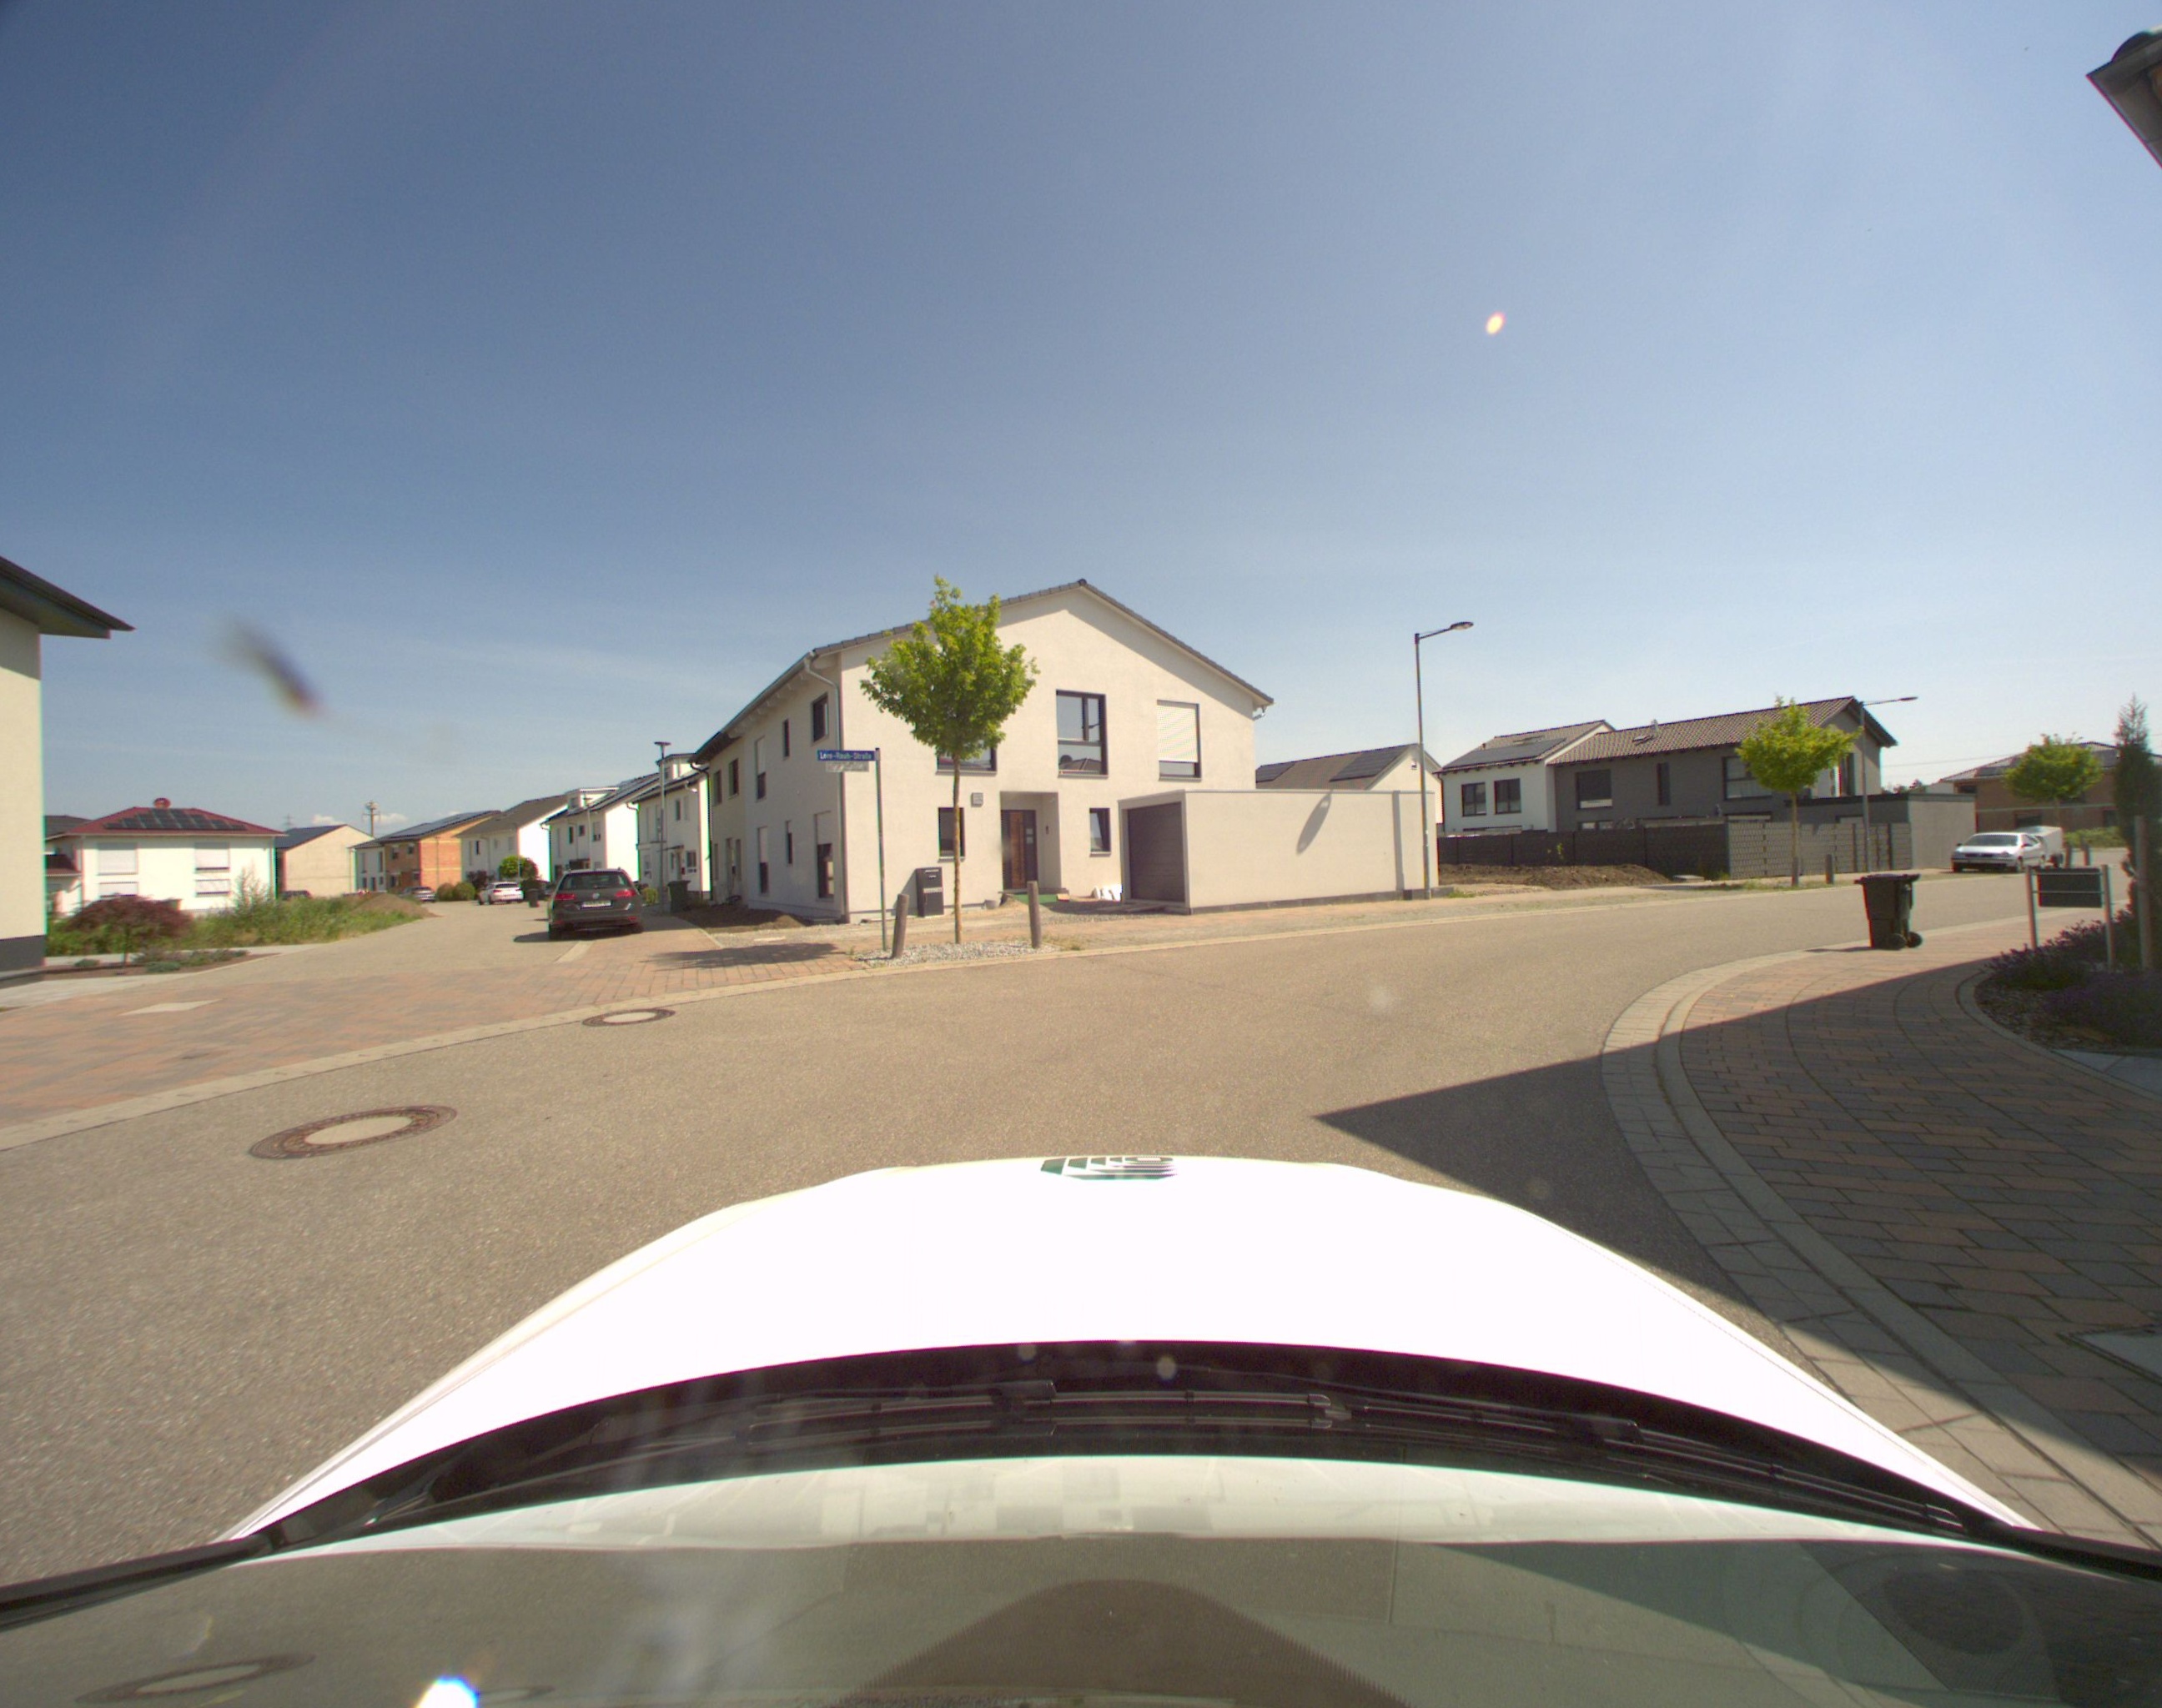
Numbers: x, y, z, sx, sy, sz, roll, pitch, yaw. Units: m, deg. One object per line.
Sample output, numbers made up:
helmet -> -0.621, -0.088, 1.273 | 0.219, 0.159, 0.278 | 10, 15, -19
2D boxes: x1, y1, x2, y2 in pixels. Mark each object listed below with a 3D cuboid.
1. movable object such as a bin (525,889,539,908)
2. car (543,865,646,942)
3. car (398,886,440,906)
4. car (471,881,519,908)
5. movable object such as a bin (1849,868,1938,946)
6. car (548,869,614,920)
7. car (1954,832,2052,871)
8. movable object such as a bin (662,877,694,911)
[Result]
movable object such as a bin -> -28.490, 2.286, 42.259 | 0.561, 0.949, 0.244 | -2, 0, -36
car -> -10.849, 1.023, 18.177 | 1.738, 1.423, 3.960 | -2, 0, -32
car -> -54.368, 3.434, 66.882 | 3.948, 1.485, 1.796 | -2, 0, 38
car -> -38.381, 2.611, 53.310 | 3.949, 1.596, 1.797 | -2, 0, 44
movable object such as a bin -> 10.271, 0.660, 10.302 | 0.648, 0.930, 0.547 | -1, -1, -19
car -> -16.392, 1.284, 26.722 | 1.688, 1.464, 3.904 | -2, 0, -32
car -> 33.738, -0.118, 29.787 | 3.778, 1.298, 1.581 | -2, 1, -28
movable object such as a bin -> -13.437, 1.324, 27.131 | 0.790, 1.049, 0.796 | -4, 1, -34
